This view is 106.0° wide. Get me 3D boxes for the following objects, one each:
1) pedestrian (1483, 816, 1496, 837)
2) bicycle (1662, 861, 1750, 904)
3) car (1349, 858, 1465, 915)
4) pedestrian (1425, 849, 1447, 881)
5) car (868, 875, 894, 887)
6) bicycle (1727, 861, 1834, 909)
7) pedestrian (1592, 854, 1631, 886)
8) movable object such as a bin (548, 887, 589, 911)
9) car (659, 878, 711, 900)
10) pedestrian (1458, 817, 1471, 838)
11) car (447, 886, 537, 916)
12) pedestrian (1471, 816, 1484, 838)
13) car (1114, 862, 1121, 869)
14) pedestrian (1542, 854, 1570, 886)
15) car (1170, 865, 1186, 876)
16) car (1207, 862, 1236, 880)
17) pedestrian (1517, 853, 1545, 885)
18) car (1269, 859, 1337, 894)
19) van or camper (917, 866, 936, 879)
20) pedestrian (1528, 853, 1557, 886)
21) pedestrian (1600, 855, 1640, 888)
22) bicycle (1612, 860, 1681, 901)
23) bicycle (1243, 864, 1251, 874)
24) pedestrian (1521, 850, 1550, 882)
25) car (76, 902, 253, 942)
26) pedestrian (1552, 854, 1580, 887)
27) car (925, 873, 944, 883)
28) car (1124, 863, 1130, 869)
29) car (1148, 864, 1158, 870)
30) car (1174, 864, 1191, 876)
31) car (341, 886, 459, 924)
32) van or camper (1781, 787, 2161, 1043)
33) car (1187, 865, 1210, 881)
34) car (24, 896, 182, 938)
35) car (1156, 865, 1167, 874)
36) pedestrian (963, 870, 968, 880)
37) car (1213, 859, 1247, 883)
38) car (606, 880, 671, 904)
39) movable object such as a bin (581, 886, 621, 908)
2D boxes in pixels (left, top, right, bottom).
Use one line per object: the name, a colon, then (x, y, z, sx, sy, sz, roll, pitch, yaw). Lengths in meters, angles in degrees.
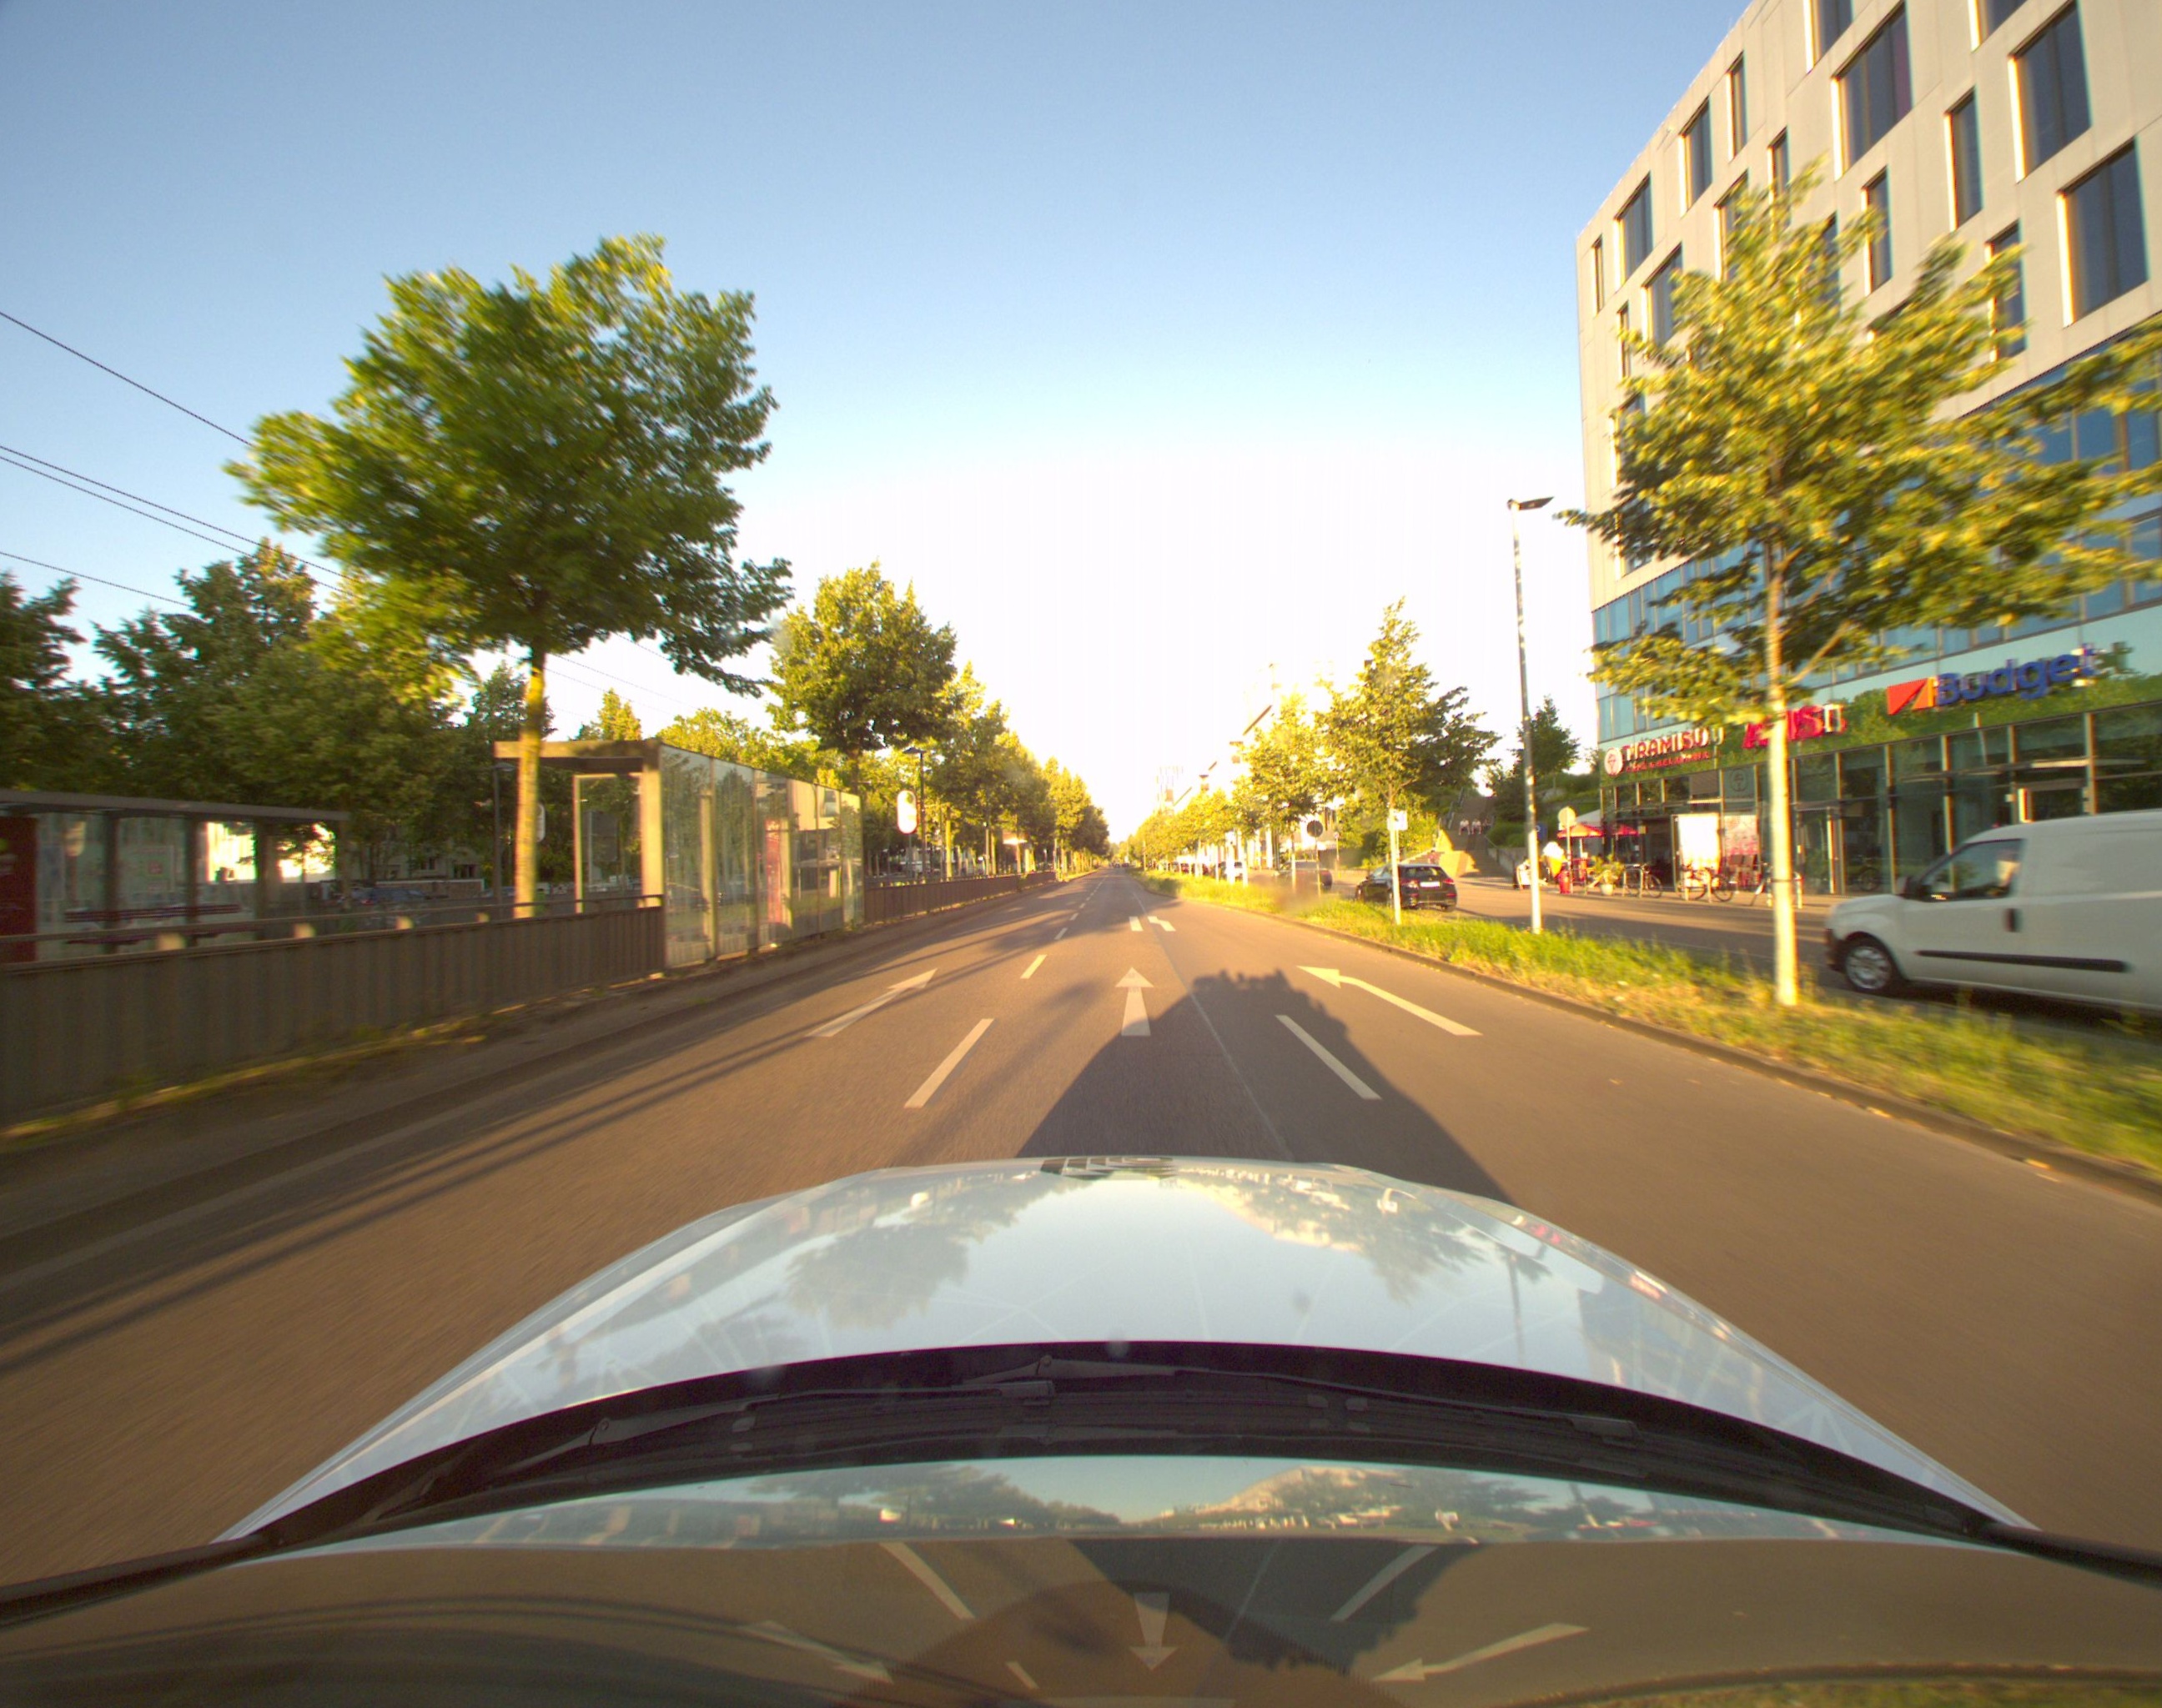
pedestrian: (27.097, -1.801, 54.005, 0.661, 1.381, 0.832, -1, -1, 34)
bicycle: (16.828, 0.733, 21.996, 0.681, 1.063, 2.072, -4, -1, -1)
car: (9.669, 0.919, 24.559, 1.802, 1.501, 4.481, -2, -1, 2)
pedestrian: (18.870, 0.566, 43.303, 0.692, 1.655, 1.079, -2, -1, 2)
car: (-26.267, 3.547, 107.150, 1.985, 1.499, 4.560, -2, -1, 3)
bicycle: (16.484, 0.711, 19.275, 0.595, 1.041, 2.070, -4, -1, -4)
pedestrian: (20.060, 0.596, 30.791, 0.969, 1.125, 0.685, -4, -1, 2)
movable object such as a bin: (-32.168, 2.821, 51.164, 1.402, 1.411, 1.703, -2, -1, 4)
car: (-31.190, 2.721, 64.280, 1.802, 1.531, 4.058, -2, -1, 4)
pedestrian: (25.805, -1.786, 54.744, 0.661, 1.381, 0.832, -1, -1, 34)
car: (-33.245, 2.609, 46.094, 1.985, 1.448, 4.004, -2, -1, 4)
pedestrian: (26.463, -1.802, 54.334, 0.661, 1.381, 0.832, -1, -1, 34)
car: (10.961, 3.349, 245.898, 2.080, 2.014, 4.001, -2, -1, 2)
pedestrian: (20.122, 0.692, 34.503, 0.665, 1.290, 0.678, -3, -1, -30)
car: (13.752, 2.304, 115.642, 1.913, 1.501, 5.011, -2, -1, 2)
car: (11.499, 1.367, 66.881, 1.743, 1.398, 4.001, -1, -1, 2)
pedestrian: (19.011, 0.632, 34.435, 0.776, 1.290, 0.686, -4, -1, 8)
car: (10.561, 1.027, 39.144, 1.912, 1.501, 5.413, -2, -1, 2)
van or camper: (-37.013, 4.470, 195.695, 2.696, 3.085, 6.273, -2, -1, 6)
pedestrian: (19.046, 0.629, 33.601, 0.771, 1.290, 0.686, -4, -1, 8)
pedestrian: (19.831, 0.633, 29.985, 0.969, 1.125, 0.685, -4, -1, 2)
bicycle: (16.881, 0.769, 24.376, 0.637, 1.133, 1.872, -4, -1, -2)
bicycle: (20.178, 1.849, 99.249, 0.615, 1.231, 1.670, -2, -1, 0)
pedestrian: (19.891, 0.521, 35.638, 0.743, 1.368, 0.768, -2, -1, -9)
car: (-34.923, 2.571, 31.223, 1.985, 1.201, 4.093, -2, -1, 4)
pedestrian: (19.959, 0.680, 33.523, 0.683, 1.290, 0.626, -4, -1, -11)
car: (-24.035, 3.945, 133.644, 1.793, 1.560, 3.846, -2, -1, 8)
car: (14.674, 3.808, 260.759, 1.986, 2.014, 4.001, -2, -1, 2)
car: (17.779, 3.235, 200.838, 1.937, 1.549, 4.811, -2, -1, 0)
car: (13.438, 2.159, 108.114, 1.802, 1.501, 3.960, -2, -1, 2)
car: (-33.342, 2.452, 40.077, 1.985, 1.586, 4.301, -2, -1, 4)
van or camper: (9.146, 0.468, 7.186, 1.951, 1.920, 4.833, 0, -1, 3)
car: (12.153, 1.939, 84.562, 1.802, 1.501, 4.370, -2, -1, 2)
car: (-43.150, 2.741, 36.096, 1.983, 1.552, 4.008, -2, -1, 7)
car: (15.561, 2.978, 157.144, 1.802, 1.501, 4.827, -2, -1, 2)
pedestrian: (-20.247, 3.712, 142.182, 0.690, 1.743, 0.866, -2, -1, 0)
car: (11.228, 1.262, 61.450, 1.802, 1.632, 4.677, -2, -1, 2)
car: (-31.546, 2.662, 58.193, 1.985, 1.500, 4.303, -2, -1, 4)
movable object such as a bin: (-31.814, 2.837, 54.017, 1.546, 1.372, 1.726, -2, -1, 4)
